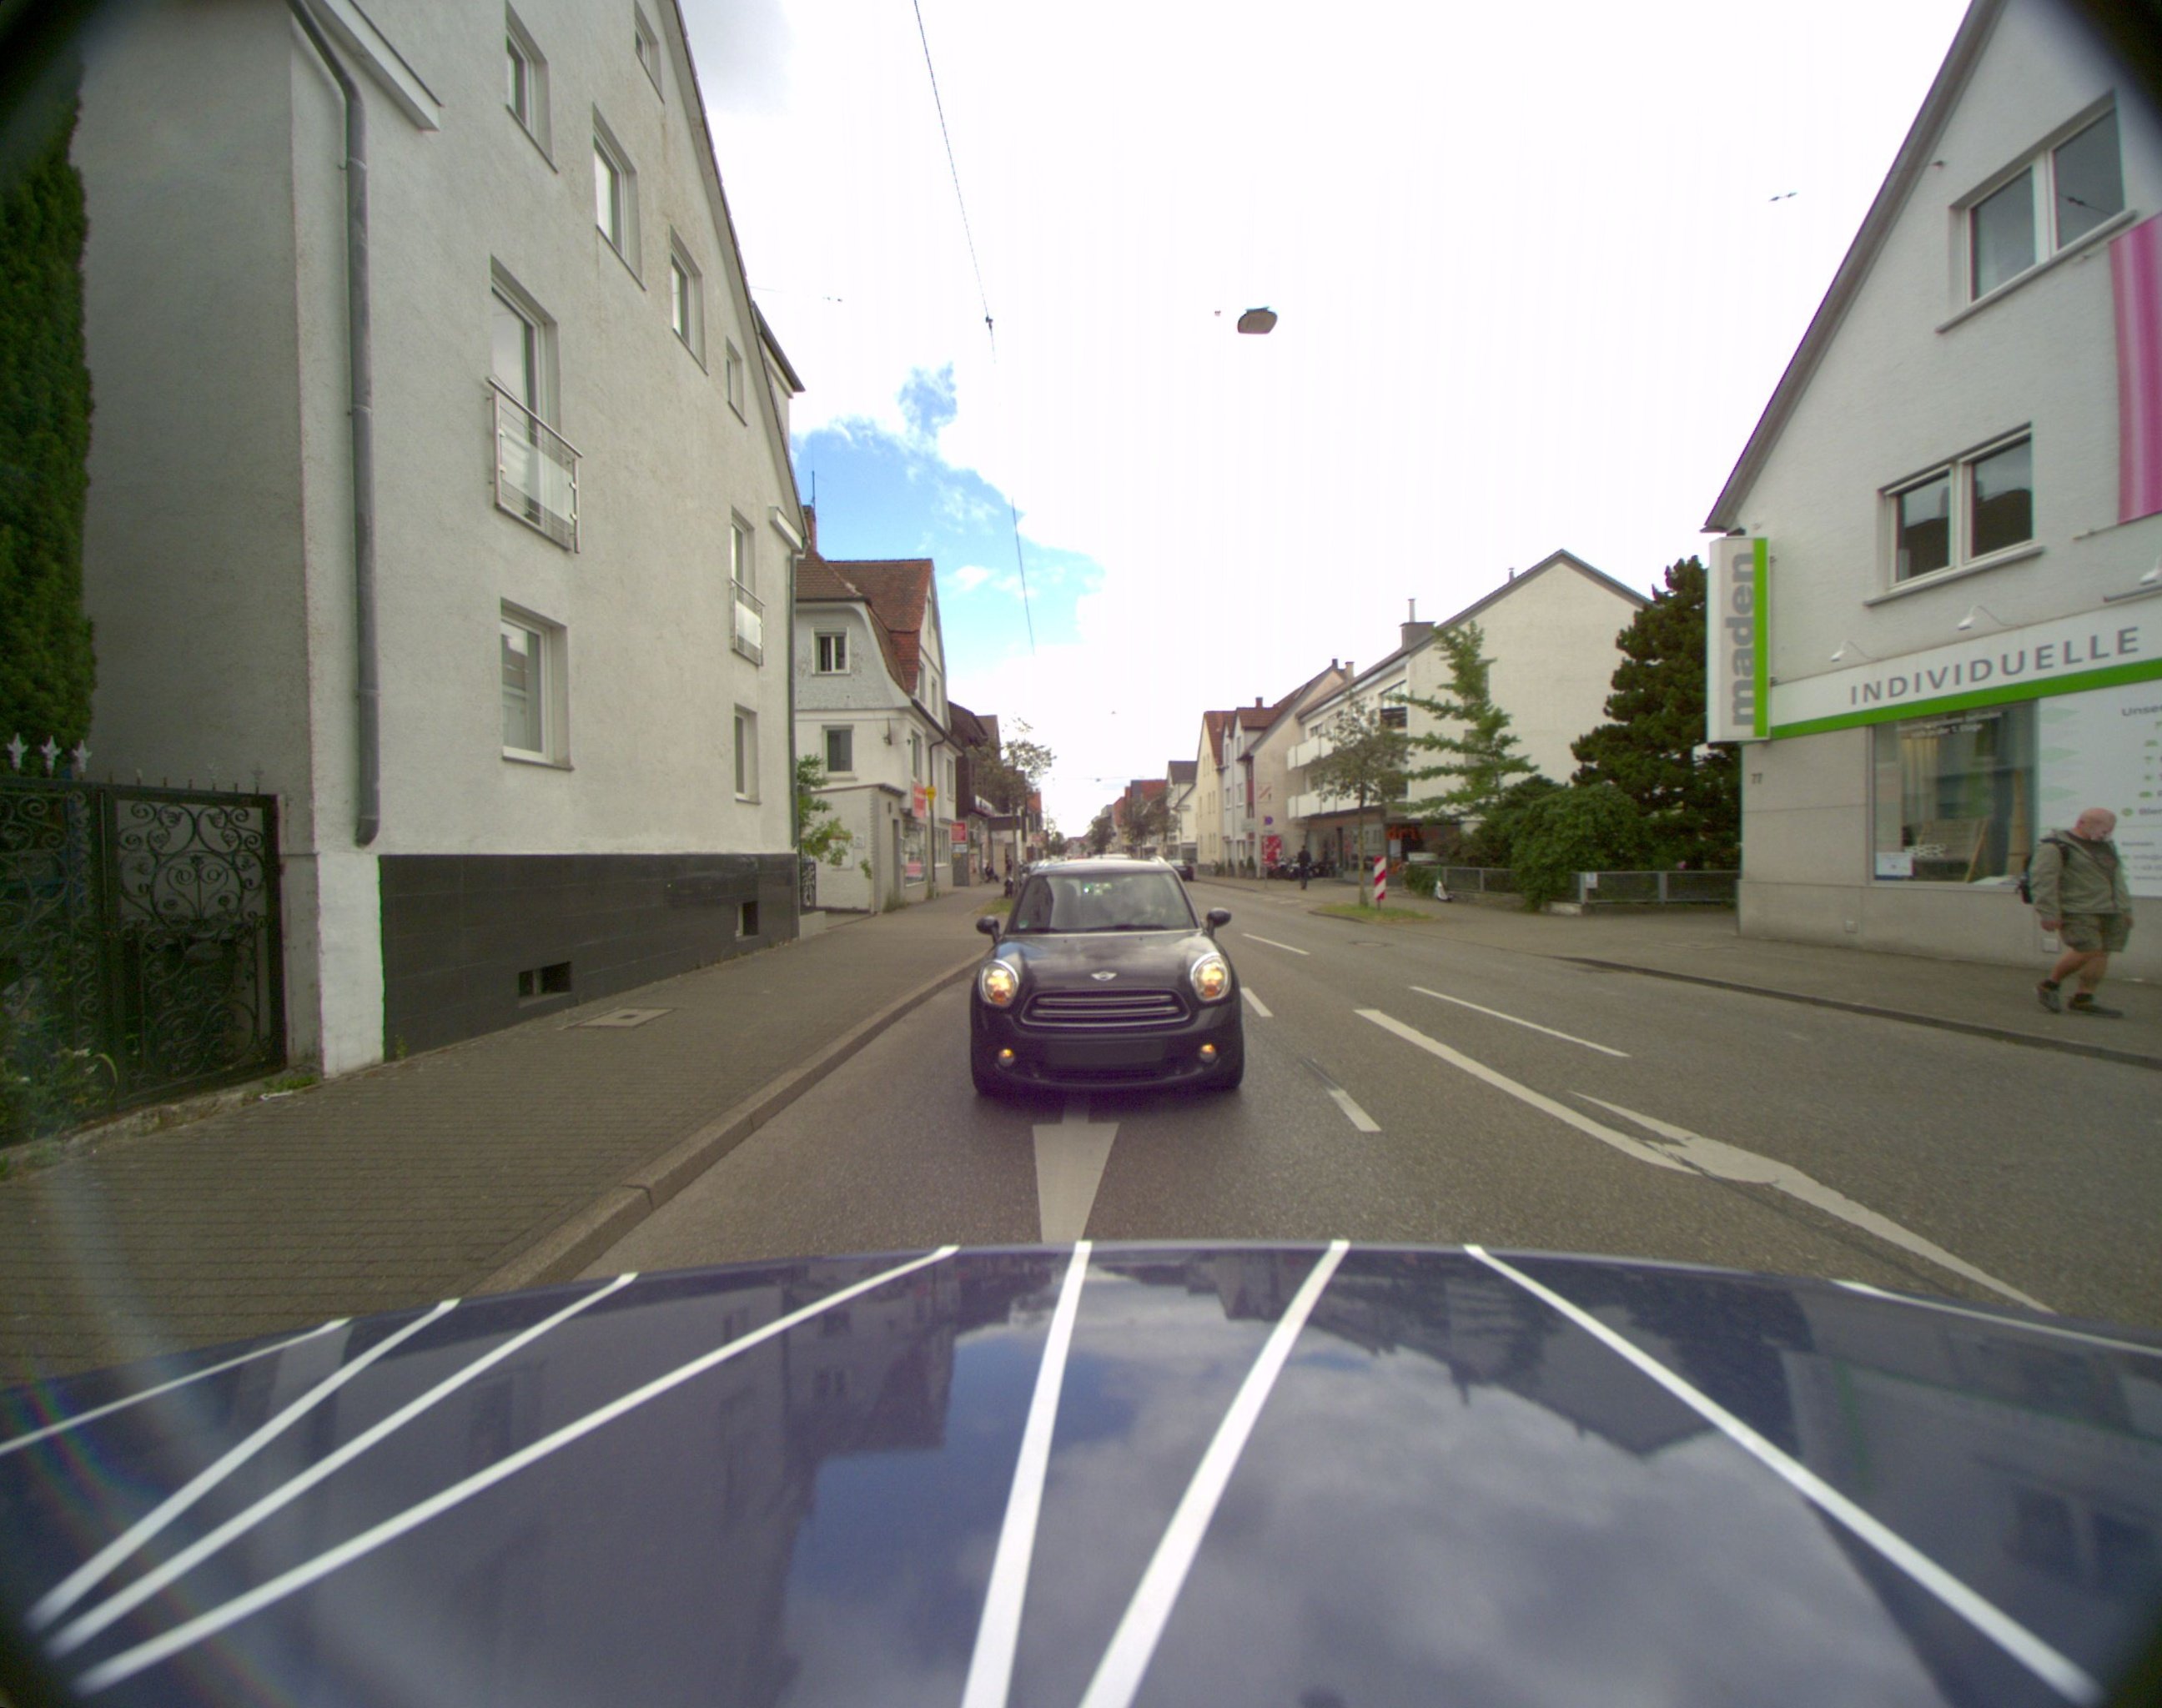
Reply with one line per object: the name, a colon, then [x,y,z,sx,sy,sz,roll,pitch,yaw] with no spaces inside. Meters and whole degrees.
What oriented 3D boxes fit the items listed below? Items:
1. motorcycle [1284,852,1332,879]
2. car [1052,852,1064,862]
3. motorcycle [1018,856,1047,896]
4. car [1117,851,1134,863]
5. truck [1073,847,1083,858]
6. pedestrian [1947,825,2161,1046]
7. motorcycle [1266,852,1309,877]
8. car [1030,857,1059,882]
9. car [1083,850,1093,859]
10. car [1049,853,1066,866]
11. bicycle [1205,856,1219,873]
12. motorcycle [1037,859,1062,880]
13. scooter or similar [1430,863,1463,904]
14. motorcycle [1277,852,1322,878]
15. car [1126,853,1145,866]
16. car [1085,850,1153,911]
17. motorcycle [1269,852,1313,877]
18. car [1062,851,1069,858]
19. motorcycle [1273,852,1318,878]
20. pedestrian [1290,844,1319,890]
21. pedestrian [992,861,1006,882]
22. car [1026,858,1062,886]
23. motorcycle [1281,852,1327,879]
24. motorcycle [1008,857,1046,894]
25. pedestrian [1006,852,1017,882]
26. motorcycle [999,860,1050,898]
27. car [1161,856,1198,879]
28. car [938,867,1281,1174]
motorcycle: [11.740,0.578,39.296,2.231,1.258,0.613,-4,1,-2]
car: [-3.448,0.421,114.644,1.794,1.397,3.948,1,0,0]
motorcycle: [-1.951,0.848,30.806,0.672,1.516,2.599,-2,0,6]
car: [5.607,0.405,96.285,1.716,1.389,3.899,-2,0,-2]
truck: [-0.895,-0.395,218.411,2.800,3.020,8.250,-2,0,0]
pedestrian: [8.485,0.649,6.578,0.753,1.733,1.019,-3,1,0]
motorcycle: [11.762,0.593,43.313,2.231,1.258,0.613,-4,1,-2]
car: [-2.261,0.956,47.769,1.645,1.433,3.901,-2,0,-1]
car: [1.478,0.103,158.030,1.855,1.932,4.490,1,0,-2]
car: [-2.590,0.556,84.479,1.794,1.356,3.948,1,0,0]
bicycle: [9.403,0.745,54.603,0.515,1.189,2.023,-2,0,-1]
motorcycle: [-2.100,1.035,51.095,1.588,1.284,0.500,-2,1,-30]
scooter or similar: [10.352,0.819,21.562,0.340,1.105,1.180,-2,1,0]
motorcycle: [11.787,0.605,41.018,2.231,1.258,0.613,-4,1,-2]
car: [6.135,0.570,85.572,1.716,1.389,3.899,-2,0,-2]
car: [1.085,0.727,23.537,1.855,1.615,4.736,-2,0,0]
motorcycle: [11.778,0.597,42.609,2.231,1.258,0.613,-4,1,-2]
car: [-4.468,0.106,221.206,2.059,2.002,4.186,-2,0,-1]
motorcycle: [11.780,0.603,41.762,2.231,1.258,0.699,-4,1,-2]
pedestrian: [9.308,0.530,31.699,0.753,1.838,1.019,-5,1,0]
pedestrian: [-4.960,1.059,45.955,0.742,1.204,0.644,0,1,-1]
car: [-1.994,0.961,42.117,1.830,1.400,4.564,-2,0,-1]
motorcycle: [11.784,0.609,40.166,2.231,1.258,0.613,-4,1,-2]
motorcycle: [-2.266,0.880,32.056,0.648,1.432,2.472,-2,1,19]
pedestrian: [-4.051,0.748,44.095,0.644,1.730,0.742,0,1,-6]
motorcycle: [-2.129,0.925,28.539,0.777,1.373,2.237,-2,1,-37]
car: [6.437,0.859,49.945,1.792,1.409,4.340,0,0,-1]
car: [0.081,0.954,6.564,1.855,1.527,4.735,-2,0,-2]
